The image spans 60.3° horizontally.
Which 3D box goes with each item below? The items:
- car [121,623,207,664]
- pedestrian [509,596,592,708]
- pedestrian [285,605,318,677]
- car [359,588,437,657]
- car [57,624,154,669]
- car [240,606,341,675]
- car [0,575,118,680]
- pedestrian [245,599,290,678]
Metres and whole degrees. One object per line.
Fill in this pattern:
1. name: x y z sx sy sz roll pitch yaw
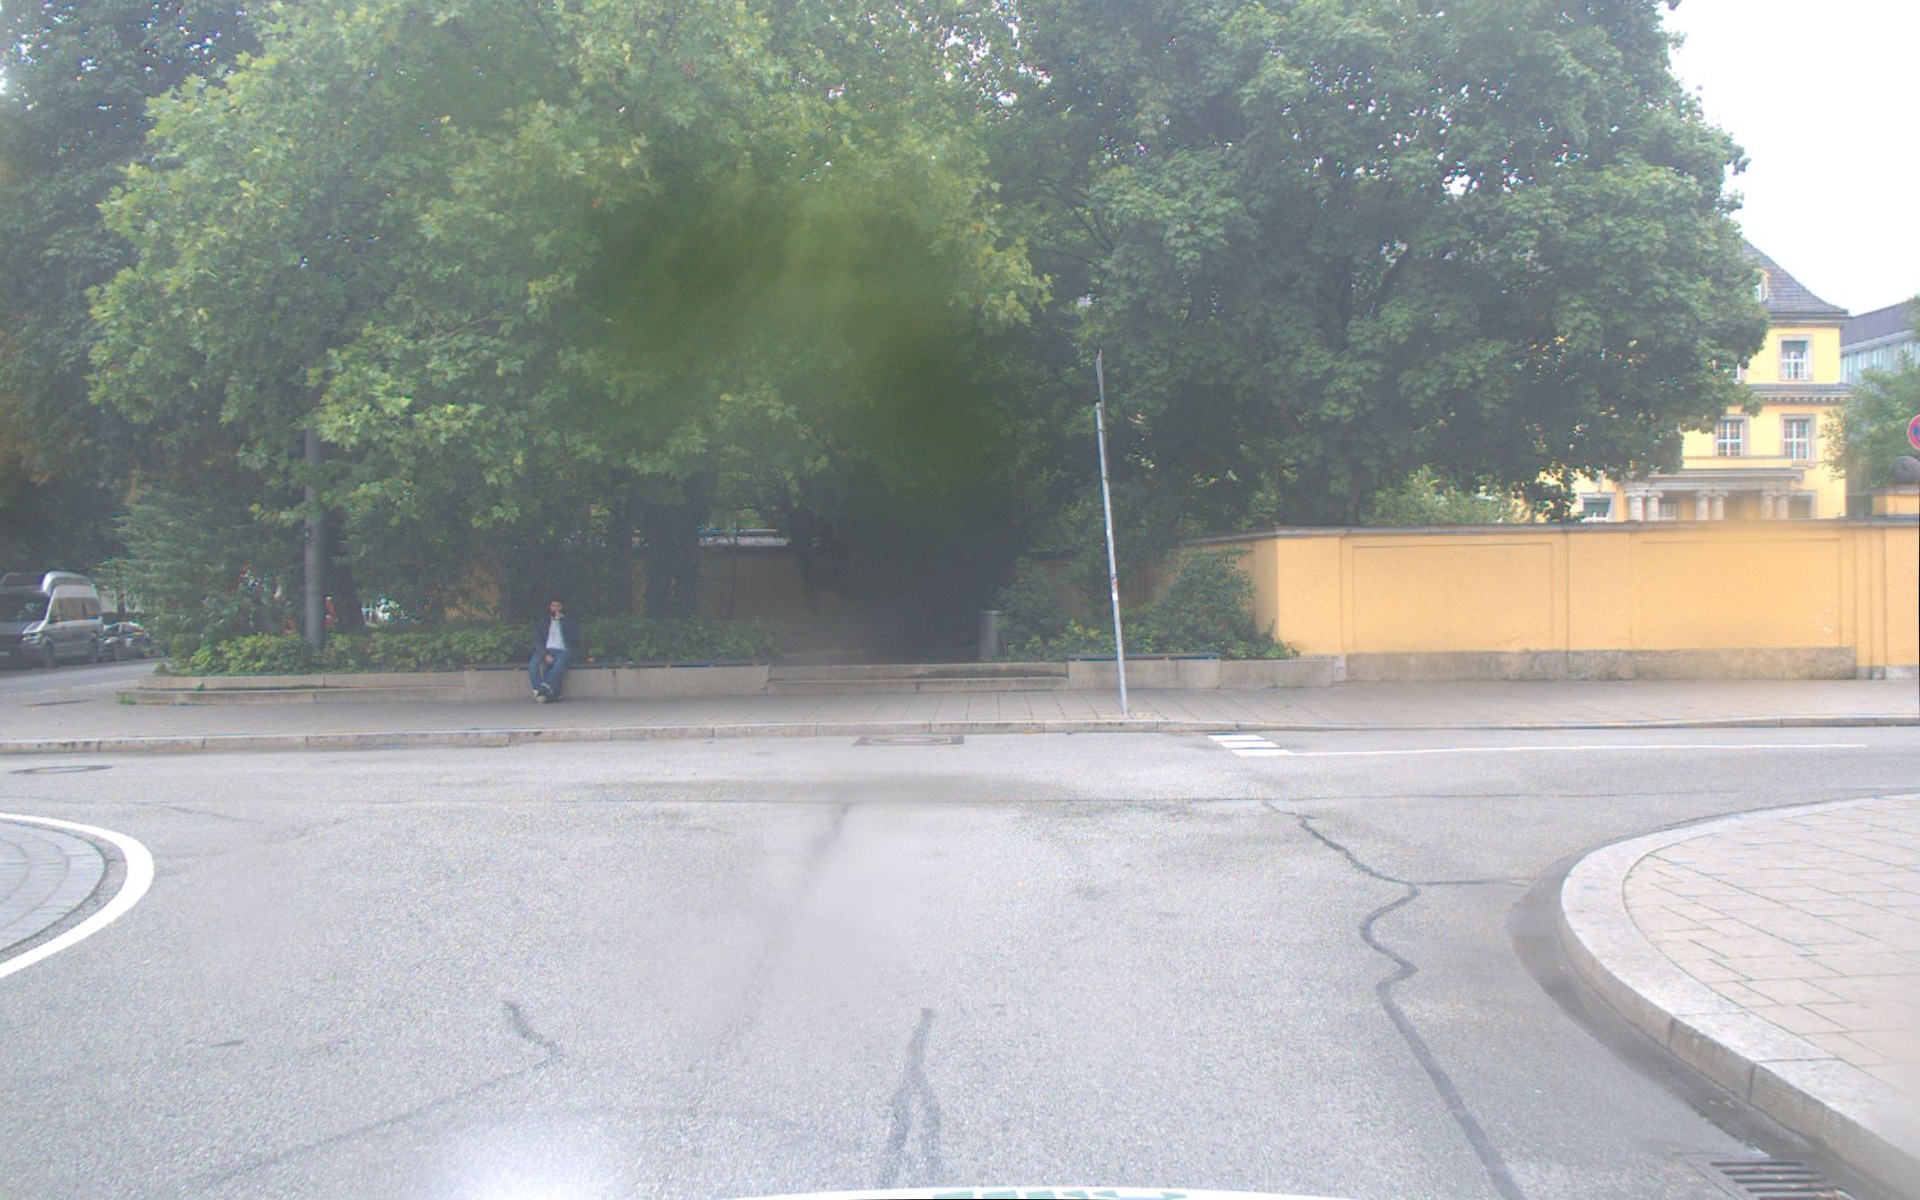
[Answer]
1. car: -30.203 1.632 62.896 1.958 1.445 4.117 -1 0 -12
2. pedestrian: -5.243 0.648 21.220 0.753 1.380 1.131 -1 0 0
3. pedestrian: -15.919 0.988 39.971 0.627 1.696 0.690 -1 0 -31
4. car: -22.335 0.873 65.917 1.956 2.603 5.419 -1 0 -8
5. car: -29.582 1.580 57.385 1.958 1.445 3.988 -1 0 -12
6. car: -20.357 1.188 50.496 1.877 1.971 4.956 -1 0 -11
7. car: -28.605 0.837 51.810 2.133 3.055 6.219 -1 0 -9
8. pedestrian: -16.881 0.926 40.313 0.813 1.868 0.940 -1 0 -36
